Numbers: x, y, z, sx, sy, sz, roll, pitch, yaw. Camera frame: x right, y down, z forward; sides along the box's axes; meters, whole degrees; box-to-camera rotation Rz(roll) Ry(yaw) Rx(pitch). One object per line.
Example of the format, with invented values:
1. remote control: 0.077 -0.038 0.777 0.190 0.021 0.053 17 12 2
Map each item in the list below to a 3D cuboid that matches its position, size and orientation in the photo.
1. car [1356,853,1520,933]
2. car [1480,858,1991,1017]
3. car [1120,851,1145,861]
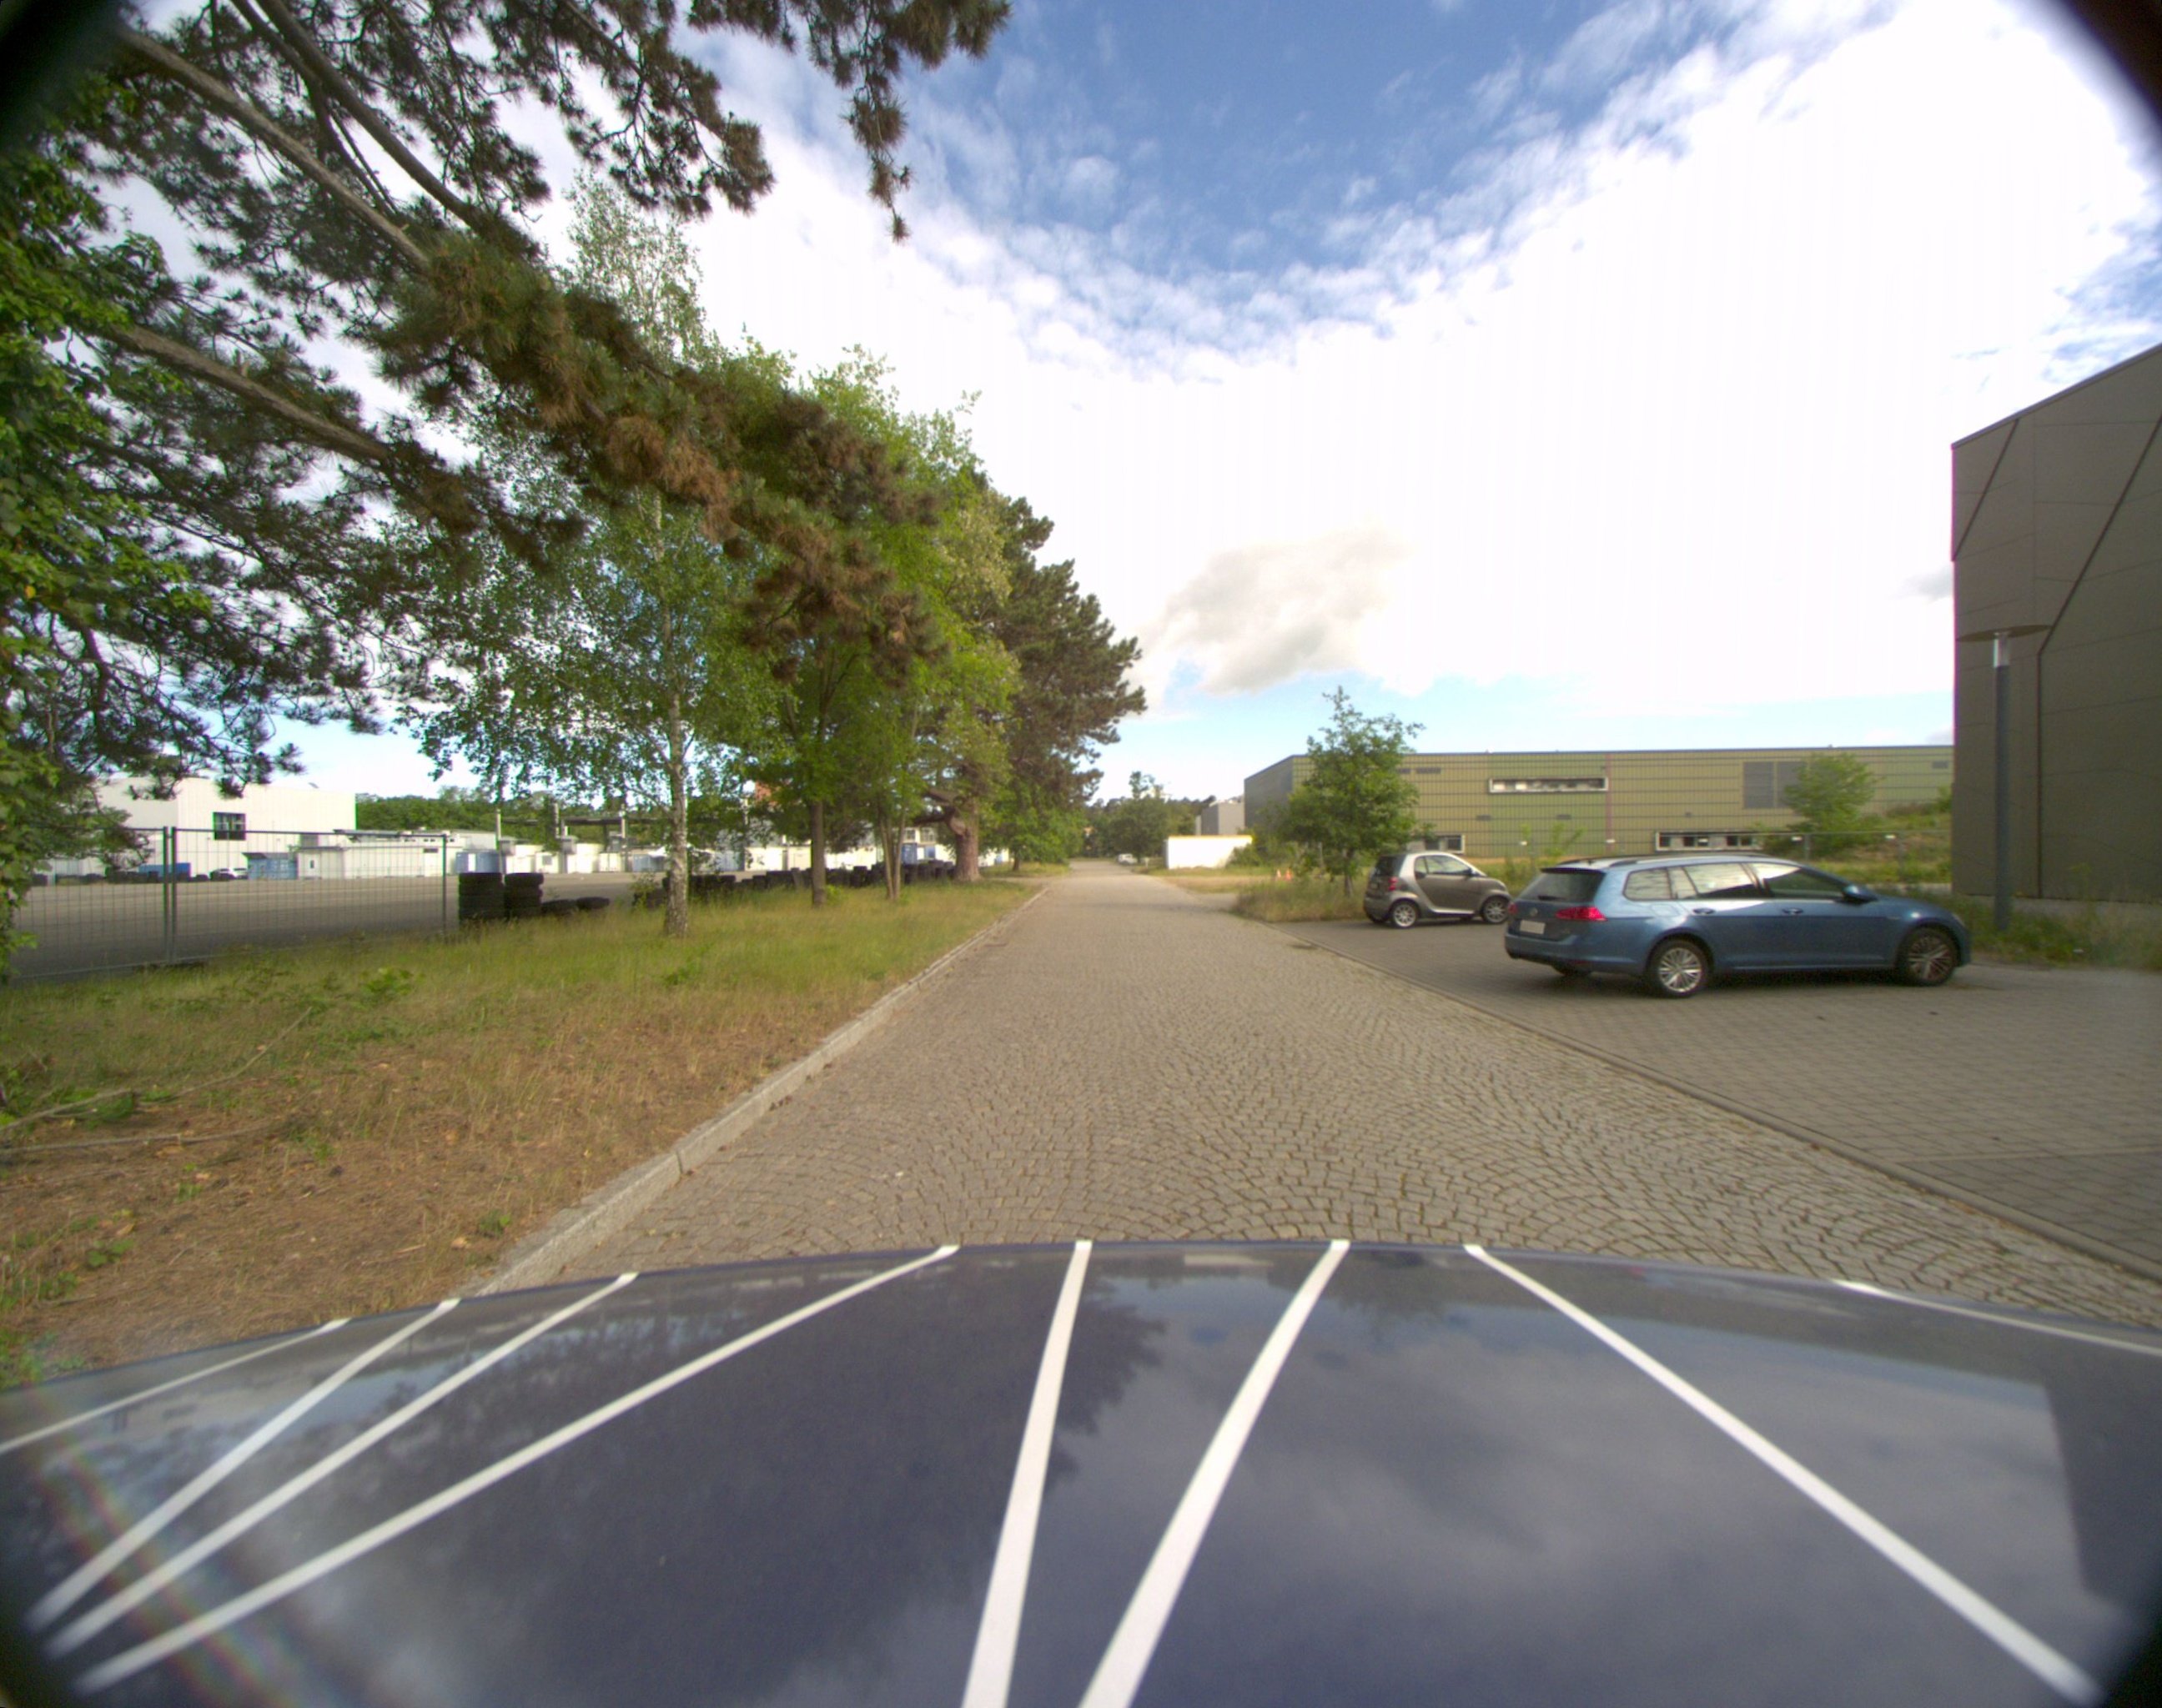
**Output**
1. car: 7.399 0.774 15.933 2.661 1.502 1.610 -2 0 0
2. car: 7.144 0.847 8.600 4.317 1.420 1.773 -2 0 -2
3. car: 8.398 0.284 123.154 3.996 1.604 1.797 -1 1 4
